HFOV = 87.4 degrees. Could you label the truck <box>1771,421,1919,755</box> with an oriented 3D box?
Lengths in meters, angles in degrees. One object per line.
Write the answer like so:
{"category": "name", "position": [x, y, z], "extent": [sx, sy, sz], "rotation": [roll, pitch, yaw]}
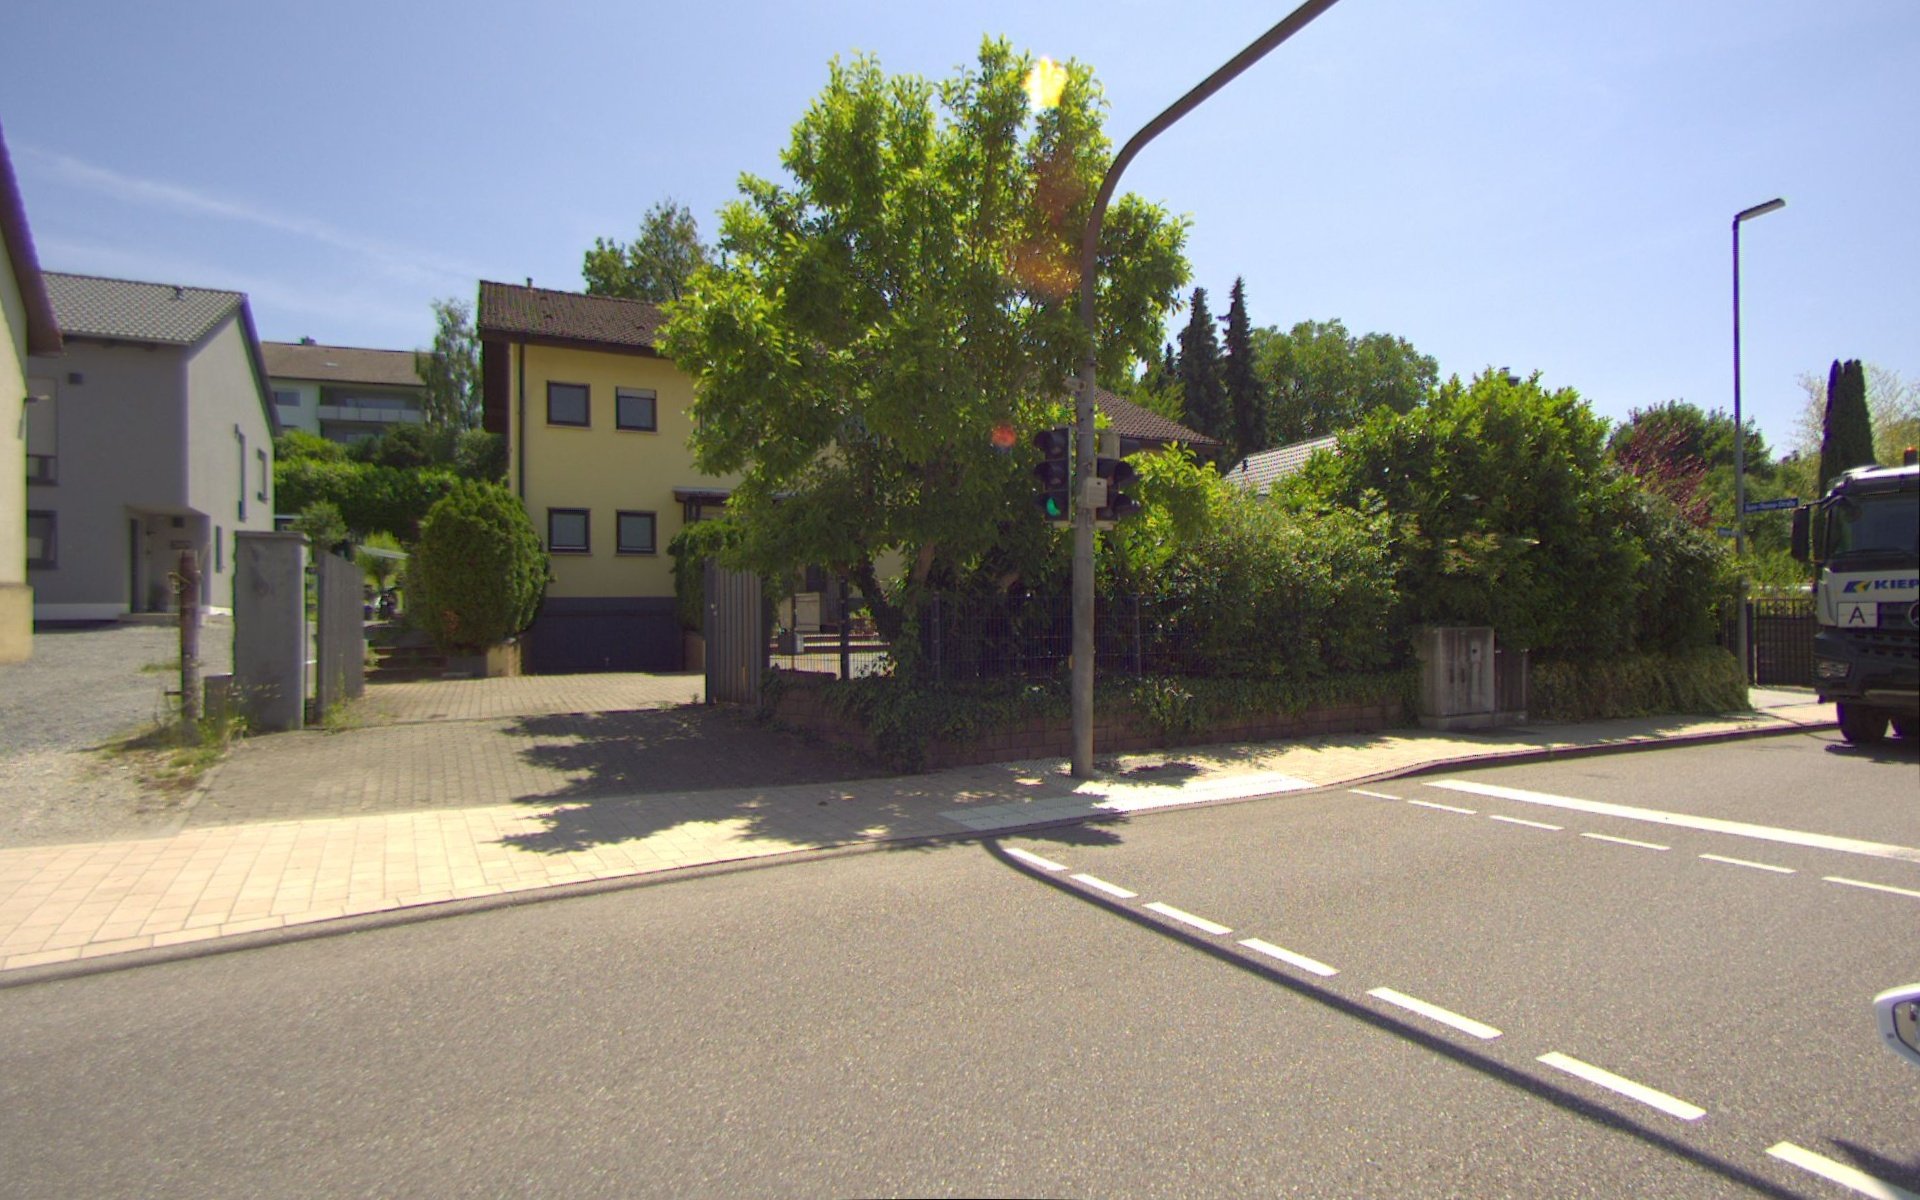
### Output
{"category": "truck", "position": [14.580, -0.080, 13.547], "extent": [8.513, 3.787, 2.532], "rotation": [1, -2, -28]}
